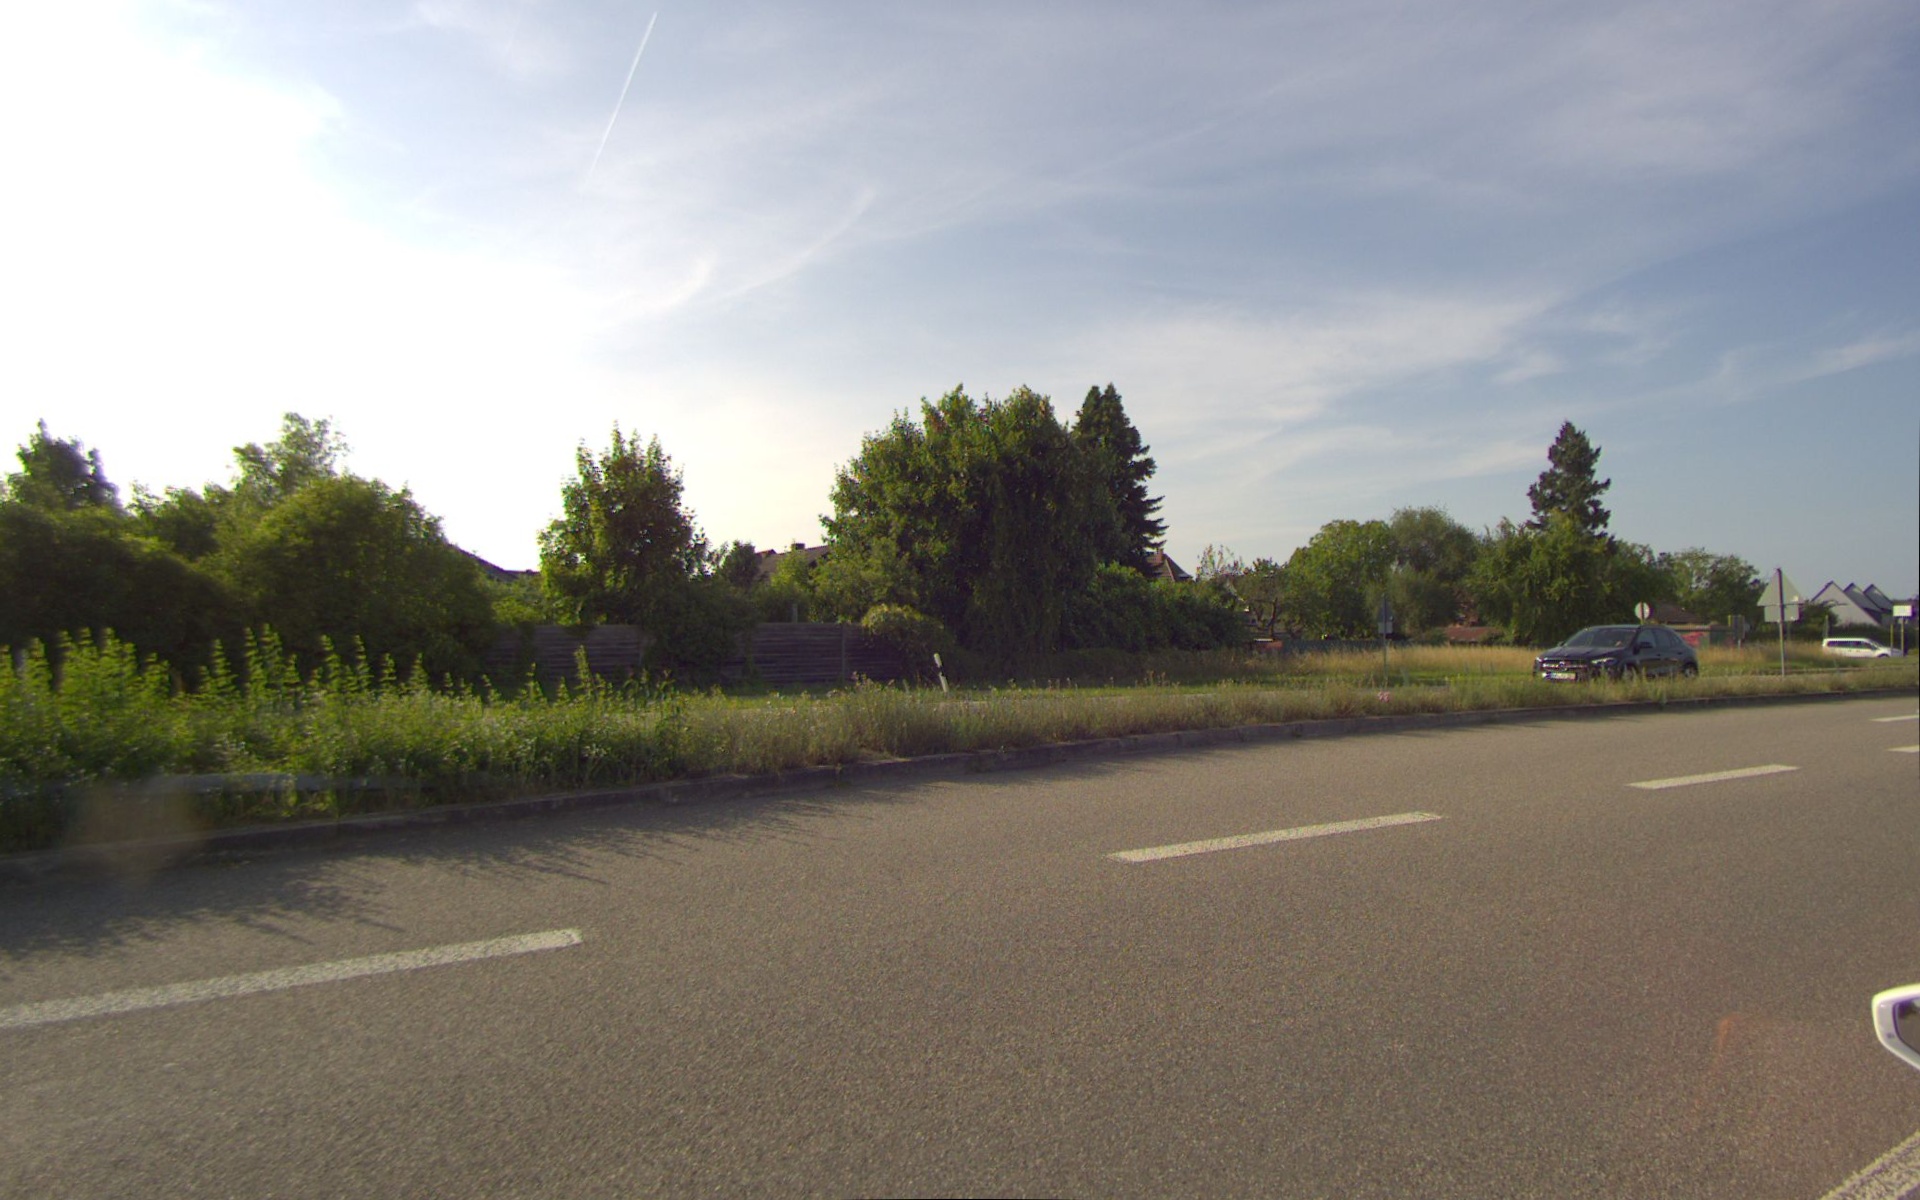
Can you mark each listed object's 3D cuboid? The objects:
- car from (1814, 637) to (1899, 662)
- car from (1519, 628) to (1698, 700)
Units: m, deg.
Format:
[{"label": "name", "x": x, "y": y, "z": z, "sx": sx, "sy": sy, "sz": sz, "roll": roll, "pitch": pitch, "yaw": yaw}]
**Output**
[{"label": "car", "x": 63.018, "y": 3.464, "z": 70.665, "sx": 1.982, "sy": 1.542, "sz": 4.152, "roll": 1, "pitch": 0, "yaw": -38}, {"label": "car", "x": 14.520, "y": 1.373, "z": 22.462, "sx": 3.952, "sy": 1.426, "sz": 1.721, "roll": 1, "pitch": 0, "yaw": -29}]
